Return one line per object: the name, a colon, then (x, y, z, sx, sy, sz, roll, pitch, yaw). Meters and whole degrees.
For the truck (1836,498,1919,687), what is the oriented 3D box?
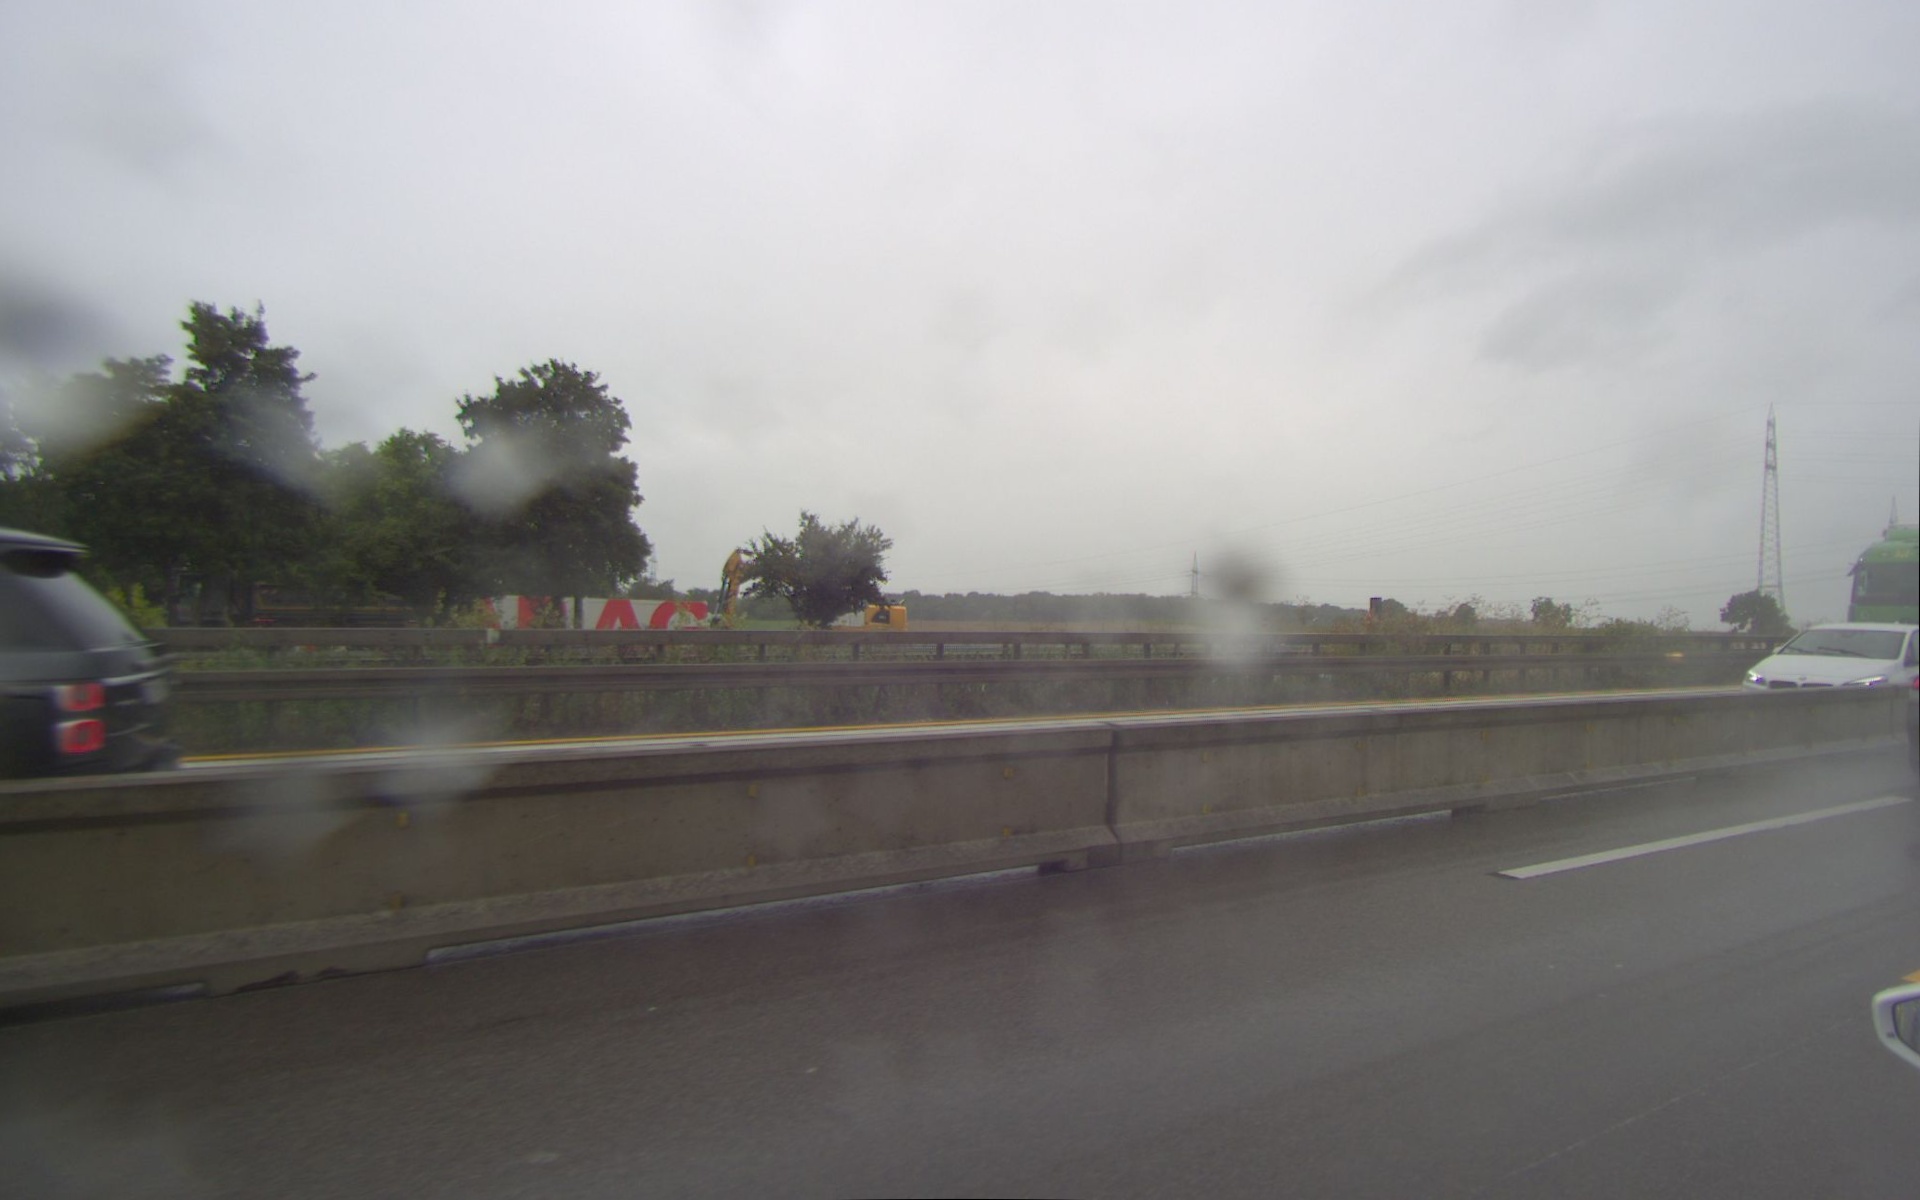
truck: (25.102, -0.120, 25.364, 6.215, 4.447, 2.596, 1, 0, -30)

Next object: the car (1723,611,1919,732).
car: (13.779, 1.083, 15.497, 4.271, 1.619, 1.692, 3, -1, -30)

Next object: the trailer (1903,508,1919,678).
trailer: (31.810, -0.035, 29.224, 13.391, 4.516, 2.569, 1, 0, -30)

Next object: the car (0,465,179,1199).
car: (-3.907, 0.507, 0.950, 4.740, 1.548, 1.929, 1, -1, -31)

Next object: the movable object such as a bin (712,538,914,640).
movable object such as a bin: (-6.406, -0.387, 44.466, 8.367, 3.971, 2.716, 3, -1, -31)

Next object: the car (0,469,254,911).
car: (-5.652, 0.312, 3.806, 4.687, 1.709, 1.888, 2, -1, -31)

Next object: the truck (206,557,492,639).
truck: (-22.331, -0.002, 37.355, 8.794, 2.740, 2.504, 1, 0, -29)
